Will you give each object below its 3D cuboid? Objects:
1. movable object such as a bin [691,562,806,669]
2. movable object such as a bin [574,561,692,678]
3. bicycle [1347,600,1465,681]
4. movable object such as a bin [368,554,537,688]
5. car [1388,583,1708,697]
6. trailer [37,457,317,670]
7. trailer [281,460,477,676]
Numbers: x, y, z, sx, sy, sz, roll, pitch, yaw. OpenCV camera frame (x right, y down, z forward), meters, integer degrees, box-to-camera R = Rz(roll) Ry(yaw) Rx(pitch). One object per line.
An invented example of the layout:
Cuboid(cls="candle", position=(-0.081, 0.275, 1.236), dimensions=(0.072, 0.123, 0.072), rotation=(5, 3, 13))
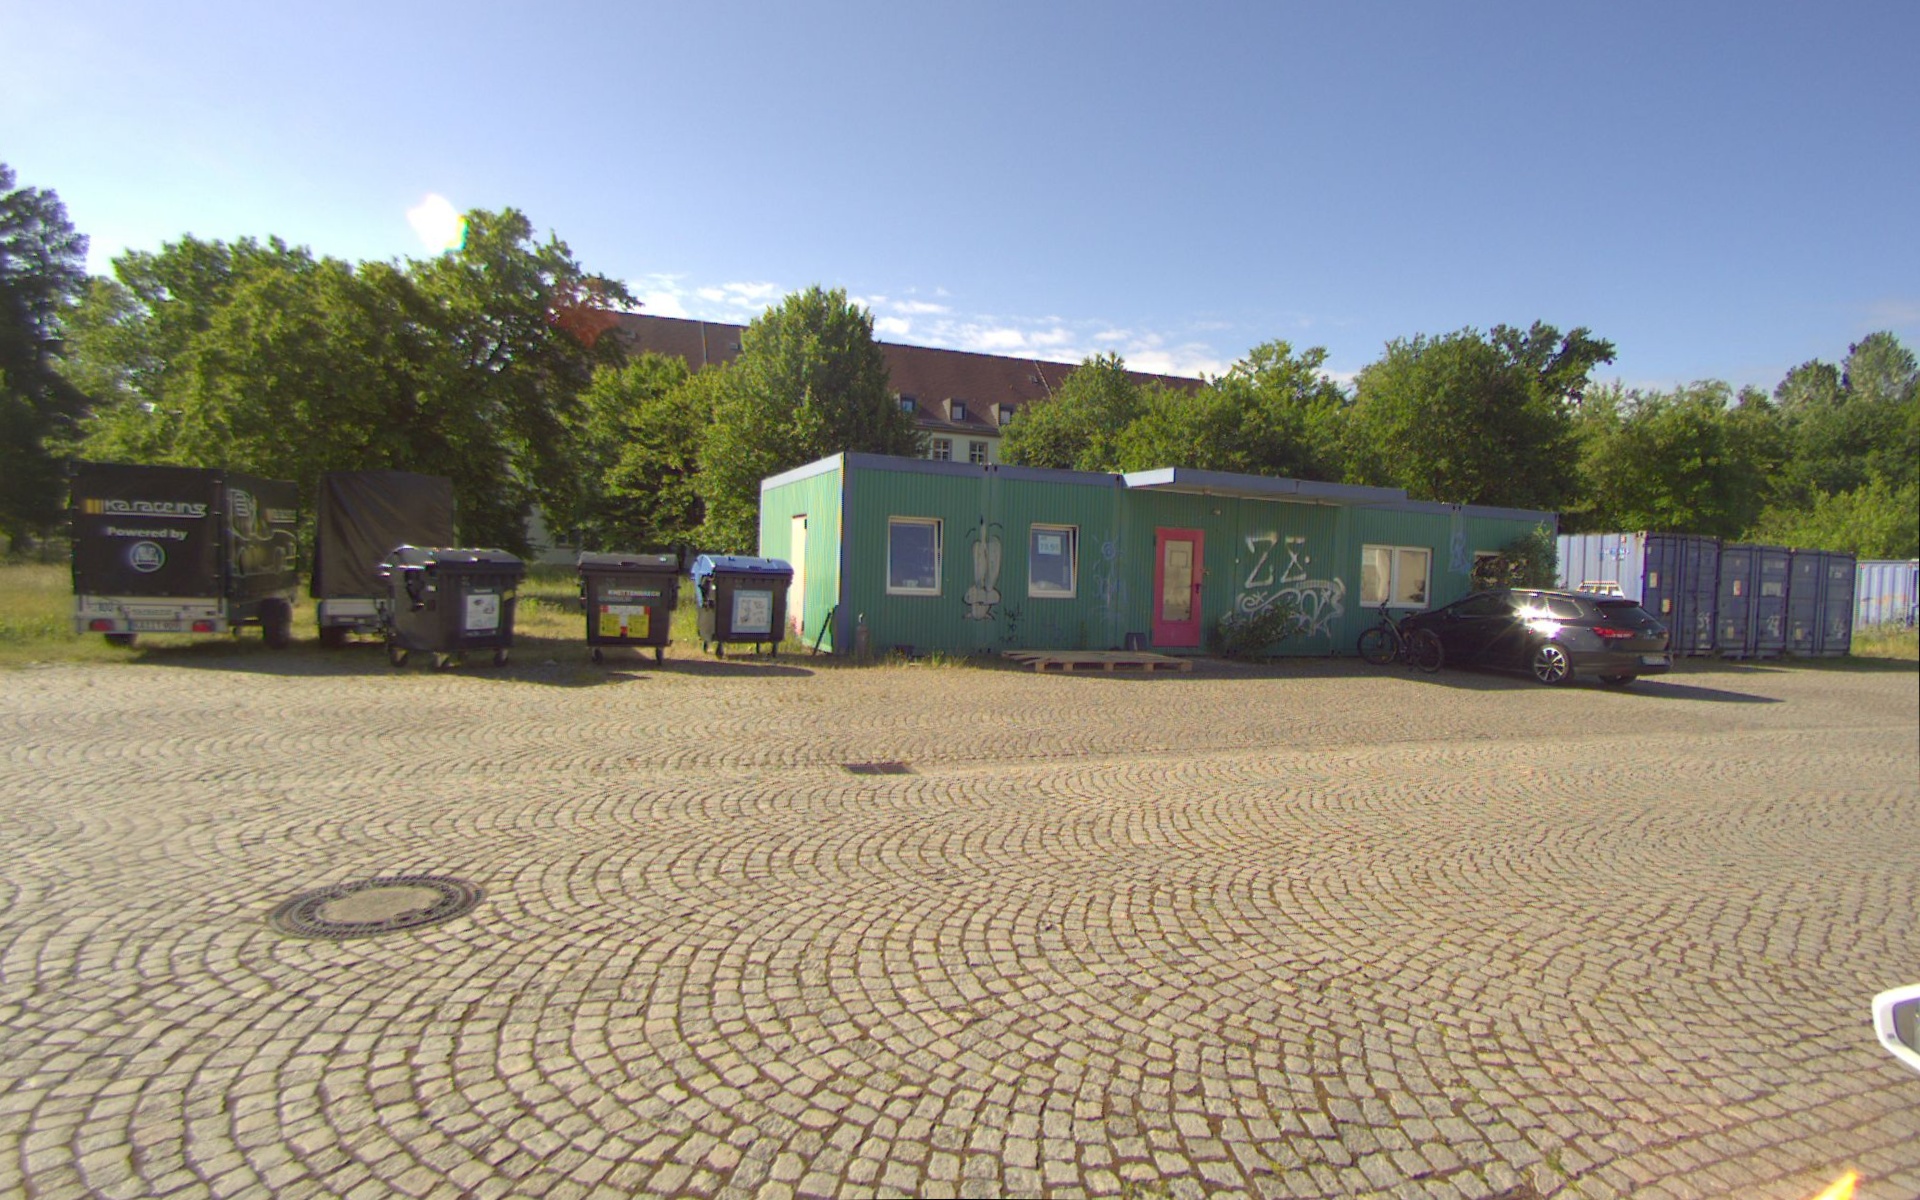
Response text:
Cuboid(cls="movable object such as a bin", position=(-3.118, 0.221, 14.817), dimensions=(1.424, 1.477, 0.877), rotation=(1, 3, -31))
Cuboid(cls="movable object such as a bin", position=(-4.409, 0.247, 13.519), dimensions=(1.419, 1.477, 1.016), rotation=(2, 2, -21))
Cuboid(cls="bicycle", position=(7.429, 0.653, 16.826), dimensions=(0.659, 1.186, 1.799), rotation=(1, 2, -22))
Cuboid(cls="movable object such as a bin", position=(-6.183, 0.218, 12.307), dimensions=(1.133, 1.477, 1.438), rotation=(3, 2, 22))
Cuboid(cls="car", position=(9.435, 0.561, 16.556), dimensions=(1.903, 1.469, 4.242), rotation=(2, 2, -22))
Cuboid(cls="trailer", position=(-10.468, -0.478, 13.770), dimensions=(2.013, 2.503, 3.380), rotation=(2, 2, -19))
Cuboid(cls="trailer", position=(-8.205, -0.476, 14.610), dimensions=(1.924, 2.602, 4.623), rotation=(1, 2, -24))
